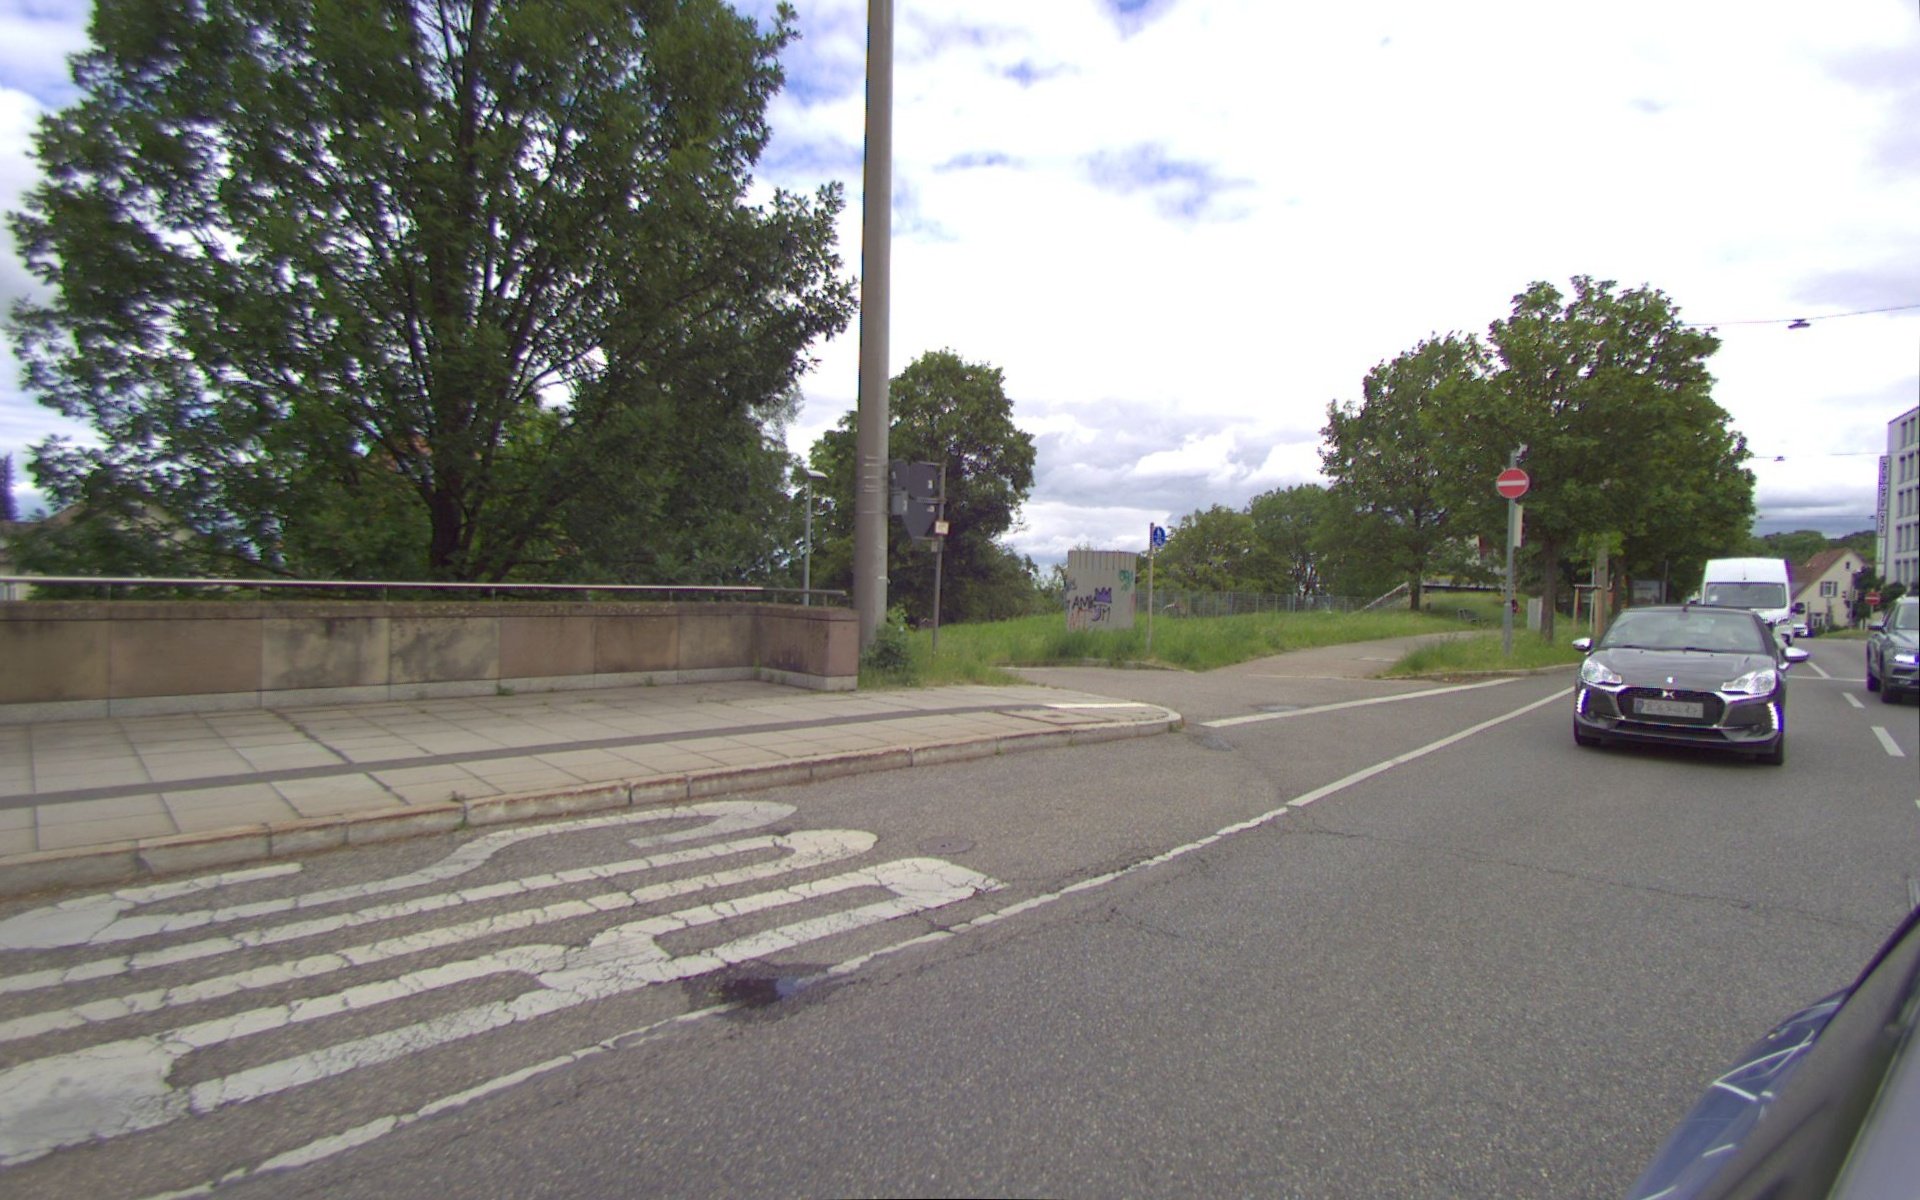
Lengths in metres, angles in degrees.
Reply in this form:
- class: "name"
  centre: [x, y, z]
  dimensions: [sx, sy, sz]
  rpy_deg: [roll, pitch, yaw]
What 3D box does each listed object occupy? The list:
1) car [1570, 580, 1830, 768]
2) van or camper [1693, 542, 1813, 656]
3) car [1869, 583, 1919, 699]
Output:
- class: "car"
  centre: [7.878, 0.608, 10.784]
  dimensions: [1.855, 1.544, 3.945]
  rpy_deg: [3, 2, 38]
- class: "van or camper"
  centre: [21.908, -0.083, 27.924]
  dimensions: [2.271, 2.739, 6.896]
  rpy_deg: [3, 2, 39]
- class: "car"
  centre: [15.724, 0.590, 15.795]
  dimensions: [1.990, 1.671, 4.333]
  rpy_deg: [0, 1, 38]
